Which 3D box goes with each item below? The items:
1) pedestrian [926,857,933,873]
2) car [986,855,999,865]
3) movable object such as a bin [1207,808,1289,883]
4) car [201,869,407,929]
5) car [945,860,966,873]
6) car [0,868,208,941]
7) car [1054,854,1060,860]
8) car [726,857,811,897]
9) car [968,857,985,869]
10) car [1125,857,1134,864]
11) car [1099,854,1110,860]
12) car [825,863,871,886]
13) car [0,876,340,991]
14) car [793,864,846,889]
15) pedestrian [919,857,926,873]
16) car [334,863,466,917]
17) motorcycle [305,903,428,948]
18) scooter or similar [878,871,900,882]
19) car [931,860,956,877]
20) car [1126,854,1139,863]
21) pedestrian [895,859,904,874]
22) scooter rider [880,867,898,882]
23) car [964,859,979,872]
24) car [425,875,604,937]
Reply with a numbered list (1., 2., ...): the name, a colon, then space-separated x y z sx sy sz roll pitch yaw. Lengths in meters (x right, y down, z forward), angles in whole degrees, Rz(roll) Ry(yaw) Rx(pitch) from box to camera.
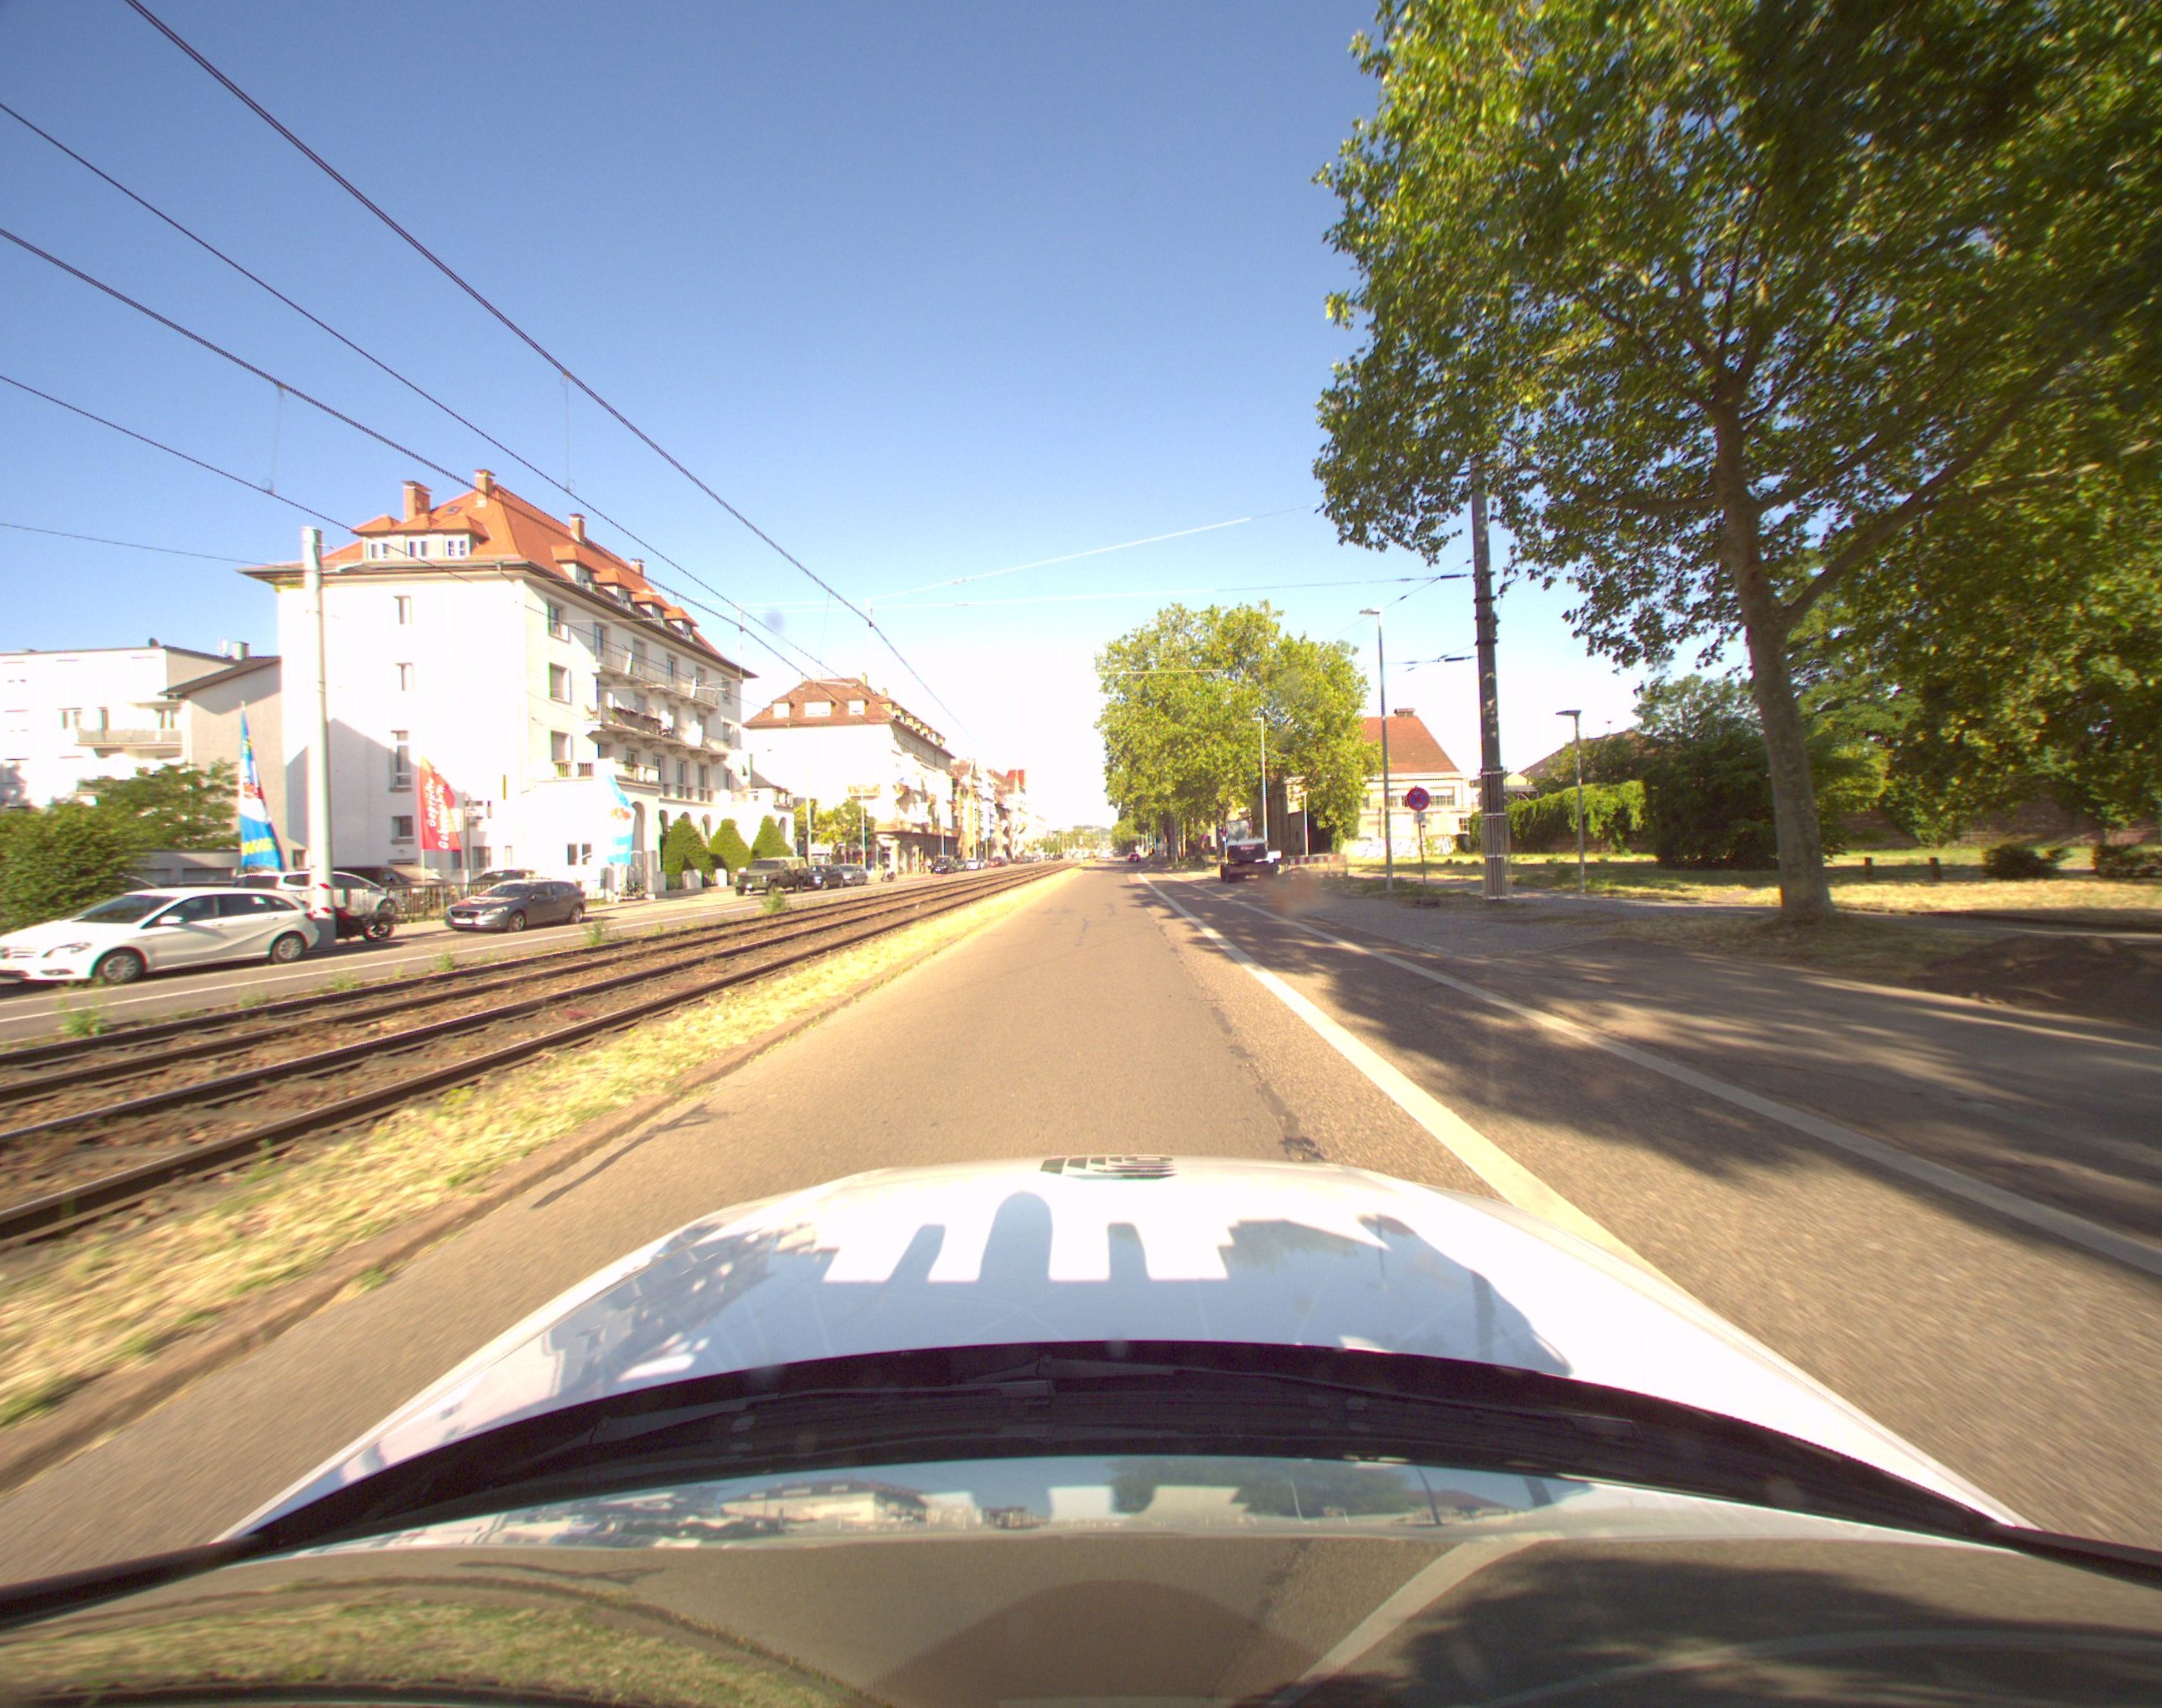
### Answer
1. pedestrian: -16.984 1.229 91.072 0.586 1.697 0.858 0 -1 4
2. car: -13.580 0.945 125.072 1.829 1.391 4.031 1 0 -3
3. movable object such as a bin: 8.042 -0.416 40.170 2.733 3.145 7.225 -5 0 3
4. car: -24.511 1.380 25.976 1.894 1.655 4.569 -3 -2 6
5. car: -15.041 1.488 97.840 1.629 1.469 4.160 1 0 2
6. car: -25.258 1.237 20.272 1.894 1.655 4.569 -3 -2 6
7. car: -6.517 0.849 221.527 1.630 1.601 4.159 -3 0 0
8. car: -16.676 1.155 43.844 2.068 2.010 5.598 0 0 4
9. car: -14.460 1.224 112.786 1.628 1.469 4.162 -1 0 3
10. car: 10.851 1.414 183.195 1.826 1.391 4.160 -1 0 2
11. car: 6.458 0.875 226.705 1.799 1.510 3.974 0 -1 -19
12. car: -15.881 1.395 55.783 1.786 1.510 4.003 0 -1 3
13. car: -17.347 1.337 15.438 1.912 1.694 4.848 0 0 4
14. car: -16.029 1.350 50.146 1.628 1.507 4.163 0 -1 4
15. pedestrian: -17.687 1.229 91.083 0.586 1.697 0.858 0 -1 4
16. car: -28.163 1.461 33.741 4.044 2.002 1.995 -2 1 11
17. motorcycle: -17.559 1.731 20.091 0.820 0.954 2.160 0 -1 16
18. scooter or similar: -14.814 1.769 62.763 1.549 0.770 0.813 -3 0 33
19. car: -14.687 1.525 87.255 1.856 1.786 4.403 0 0 1
20. car: 8.276 0.728 131.332 1.826 1.391 4.160 -1 0 2
21. pedestrian: -19.264 1.314 86.518 0.636 1.661 0.955 0 -1 4
22. scooter rider: -14.786 1.575 62.744 0.966 1.089 0.813 -3 0 33
23. car: -13.935 1.446 103.695 1.632 1.469 3.976 -3 -2 -5
24. car: -16.965 1.497 24.762 1.914 1.461 4.842 3 0 1
